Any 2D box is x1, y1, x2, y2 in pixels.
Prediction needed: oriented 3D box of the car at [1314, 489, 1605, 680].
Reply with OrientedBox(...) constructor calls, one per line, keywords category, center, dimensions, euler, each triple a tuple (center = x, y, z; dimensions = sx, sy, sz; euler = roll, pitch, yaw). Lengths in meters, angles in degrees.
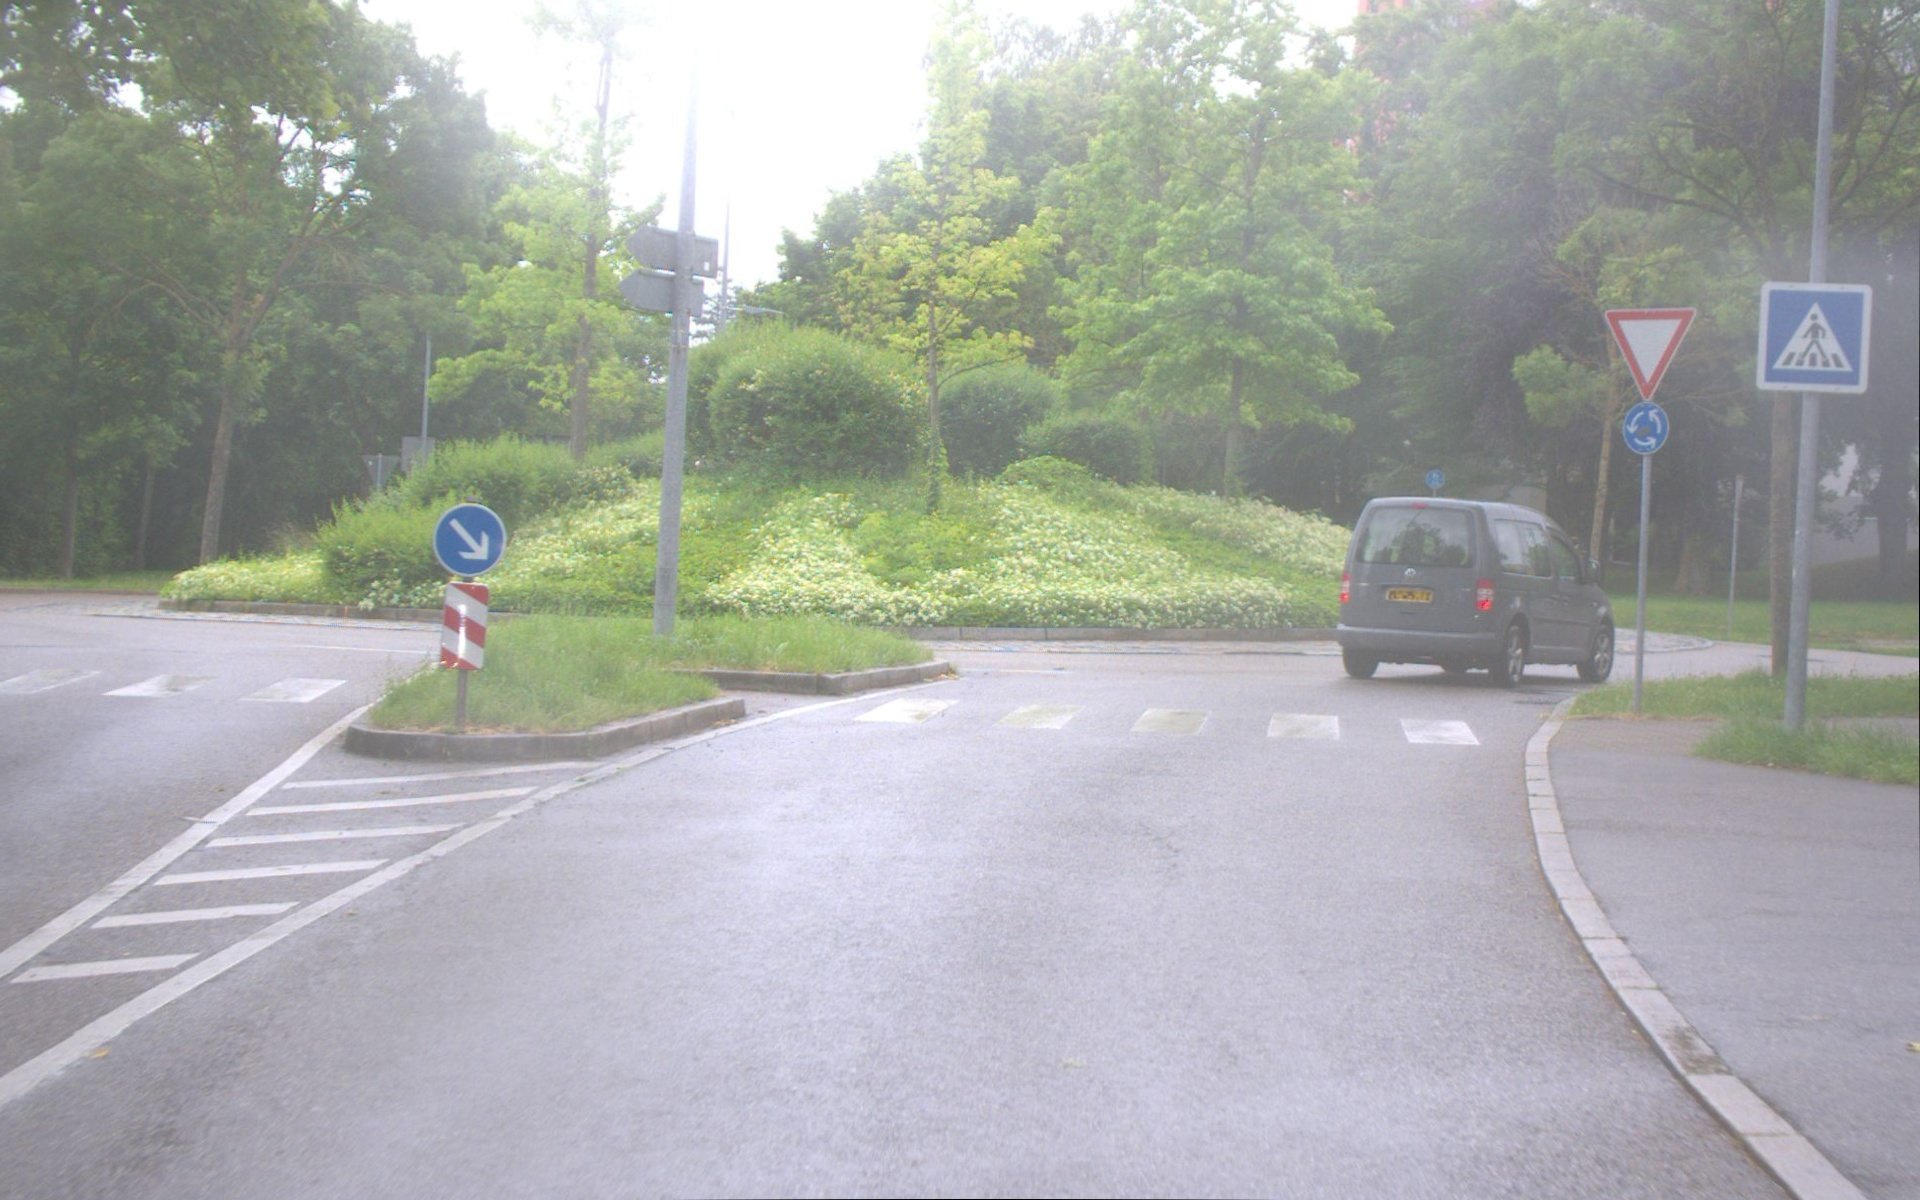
OrientedBox(category="car", center=(5.128, -0.182, 34.909), dimensions=(1.921, 1.795, 3.785), euler=(2, 1, 24))
